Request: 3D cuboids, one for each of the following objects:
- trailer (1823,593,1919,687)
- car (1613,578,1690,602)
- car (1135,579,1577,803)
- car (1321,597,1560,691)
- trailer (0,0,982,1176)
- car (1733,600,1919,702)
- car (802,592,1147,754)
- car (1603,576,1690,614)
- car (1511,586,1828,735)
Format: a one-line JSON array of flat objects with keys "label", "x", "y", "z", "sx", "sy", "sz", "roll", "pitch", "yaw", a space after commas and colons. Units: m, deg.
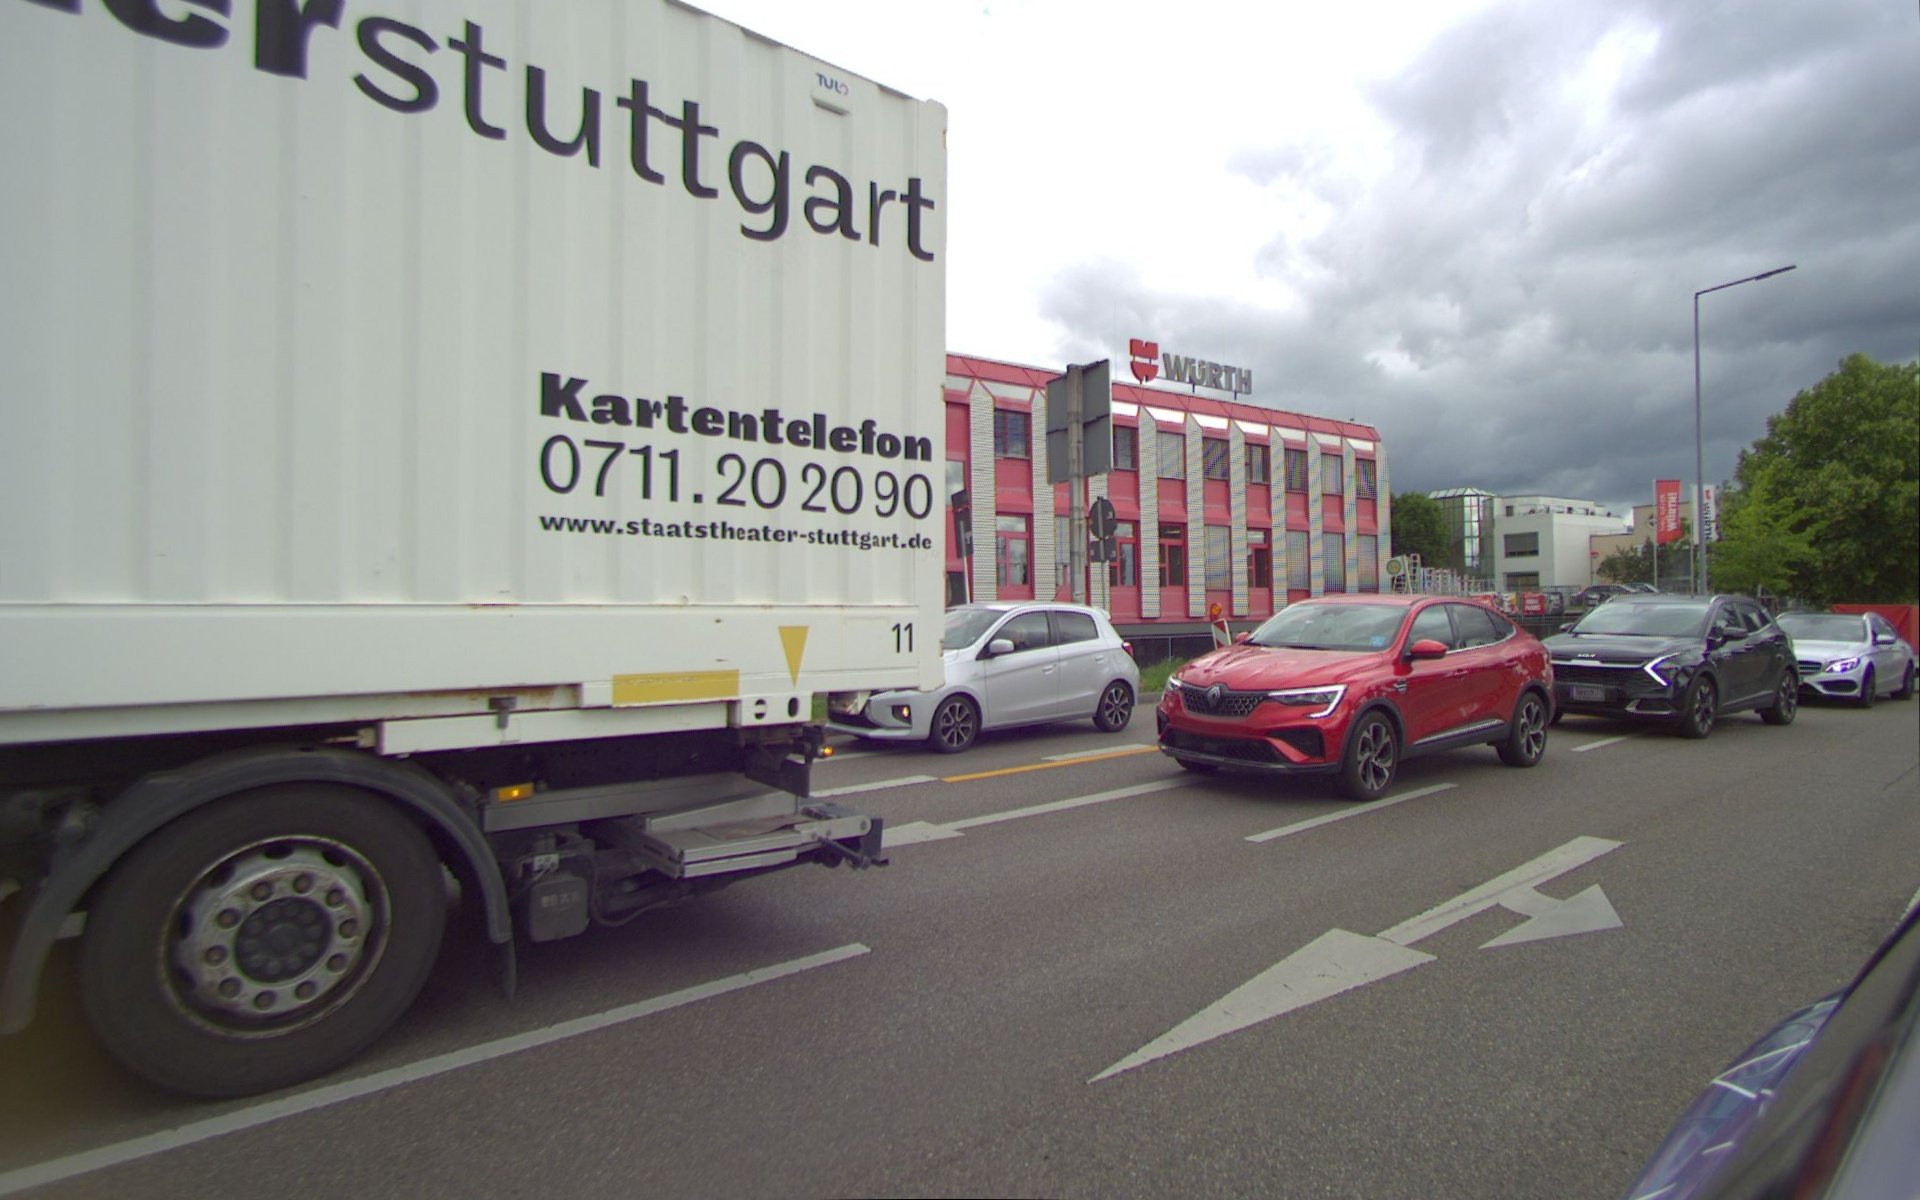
[{"label": "trailer", "x": 17.524, "y": 0.709, "z": 18.934, "sx": 3.241, "sy": 1.614, "sz": 1.413, "roll": 1, "pitch": 0, "yaw": -37}, {"label": "car", "x": 45.085, "y": -0.655, "z": 66.064, "sx": 1.720, "sy": 1.382, "sz": 3.769, "roll": 3, "pitch": -3, "yaw": -31}, {"label": "car", "x": 3.647, "y": 0.627, "z": 8.977, "sx": 4.239, "sy": 1.543, "sz": 1.712, "roll": 0, "pitch": 0, "yaw": -37}, {"label": "car", "x": 8.405, "y": 0.709, "z": 17.603, "sx": 4.194, "sy": 1.451, "sz": 1.843, "roll": 1, "pitch": 0, "yaw": -33}, {"label": "trailer", "x": -3.650, "y": -0.451, "z": 3.157, "sx": 7.625, "sy": 3.752, "sz": 2.571, "roll": 0, "pitch": 0, "yaw": -40}, {"label": "car", "x": 14.461, "y": 0.757, "z": 16.628, "sx": 4.405, "sy": 1.466, "sz": 1.676, "roll": 1, "pitch": 0, "yaw": -37}, {"label": "car", "x": 0.252, "y": 0.687, "z": 11.082, "sx": 3.623, "sy": 1.476, "sz": 1.626, "roll": 1, "pitch": -1, "yaw": -41}, {"label": "car", "x": 39.018, "y": -0.246, "z": 57.591, "sx": 1.610, "sy": 1.984, "sz": 3.769, "roll": 3, "pitch": -3, "yaw": -31}, {"label": "car", "x": 8.982, "y": 0.636, "z": 12.713, "sx": 4.319, "sy": 1.581, "sz": 1.851, "roll": 0, "pitch": 0, "yaw": -34}]
